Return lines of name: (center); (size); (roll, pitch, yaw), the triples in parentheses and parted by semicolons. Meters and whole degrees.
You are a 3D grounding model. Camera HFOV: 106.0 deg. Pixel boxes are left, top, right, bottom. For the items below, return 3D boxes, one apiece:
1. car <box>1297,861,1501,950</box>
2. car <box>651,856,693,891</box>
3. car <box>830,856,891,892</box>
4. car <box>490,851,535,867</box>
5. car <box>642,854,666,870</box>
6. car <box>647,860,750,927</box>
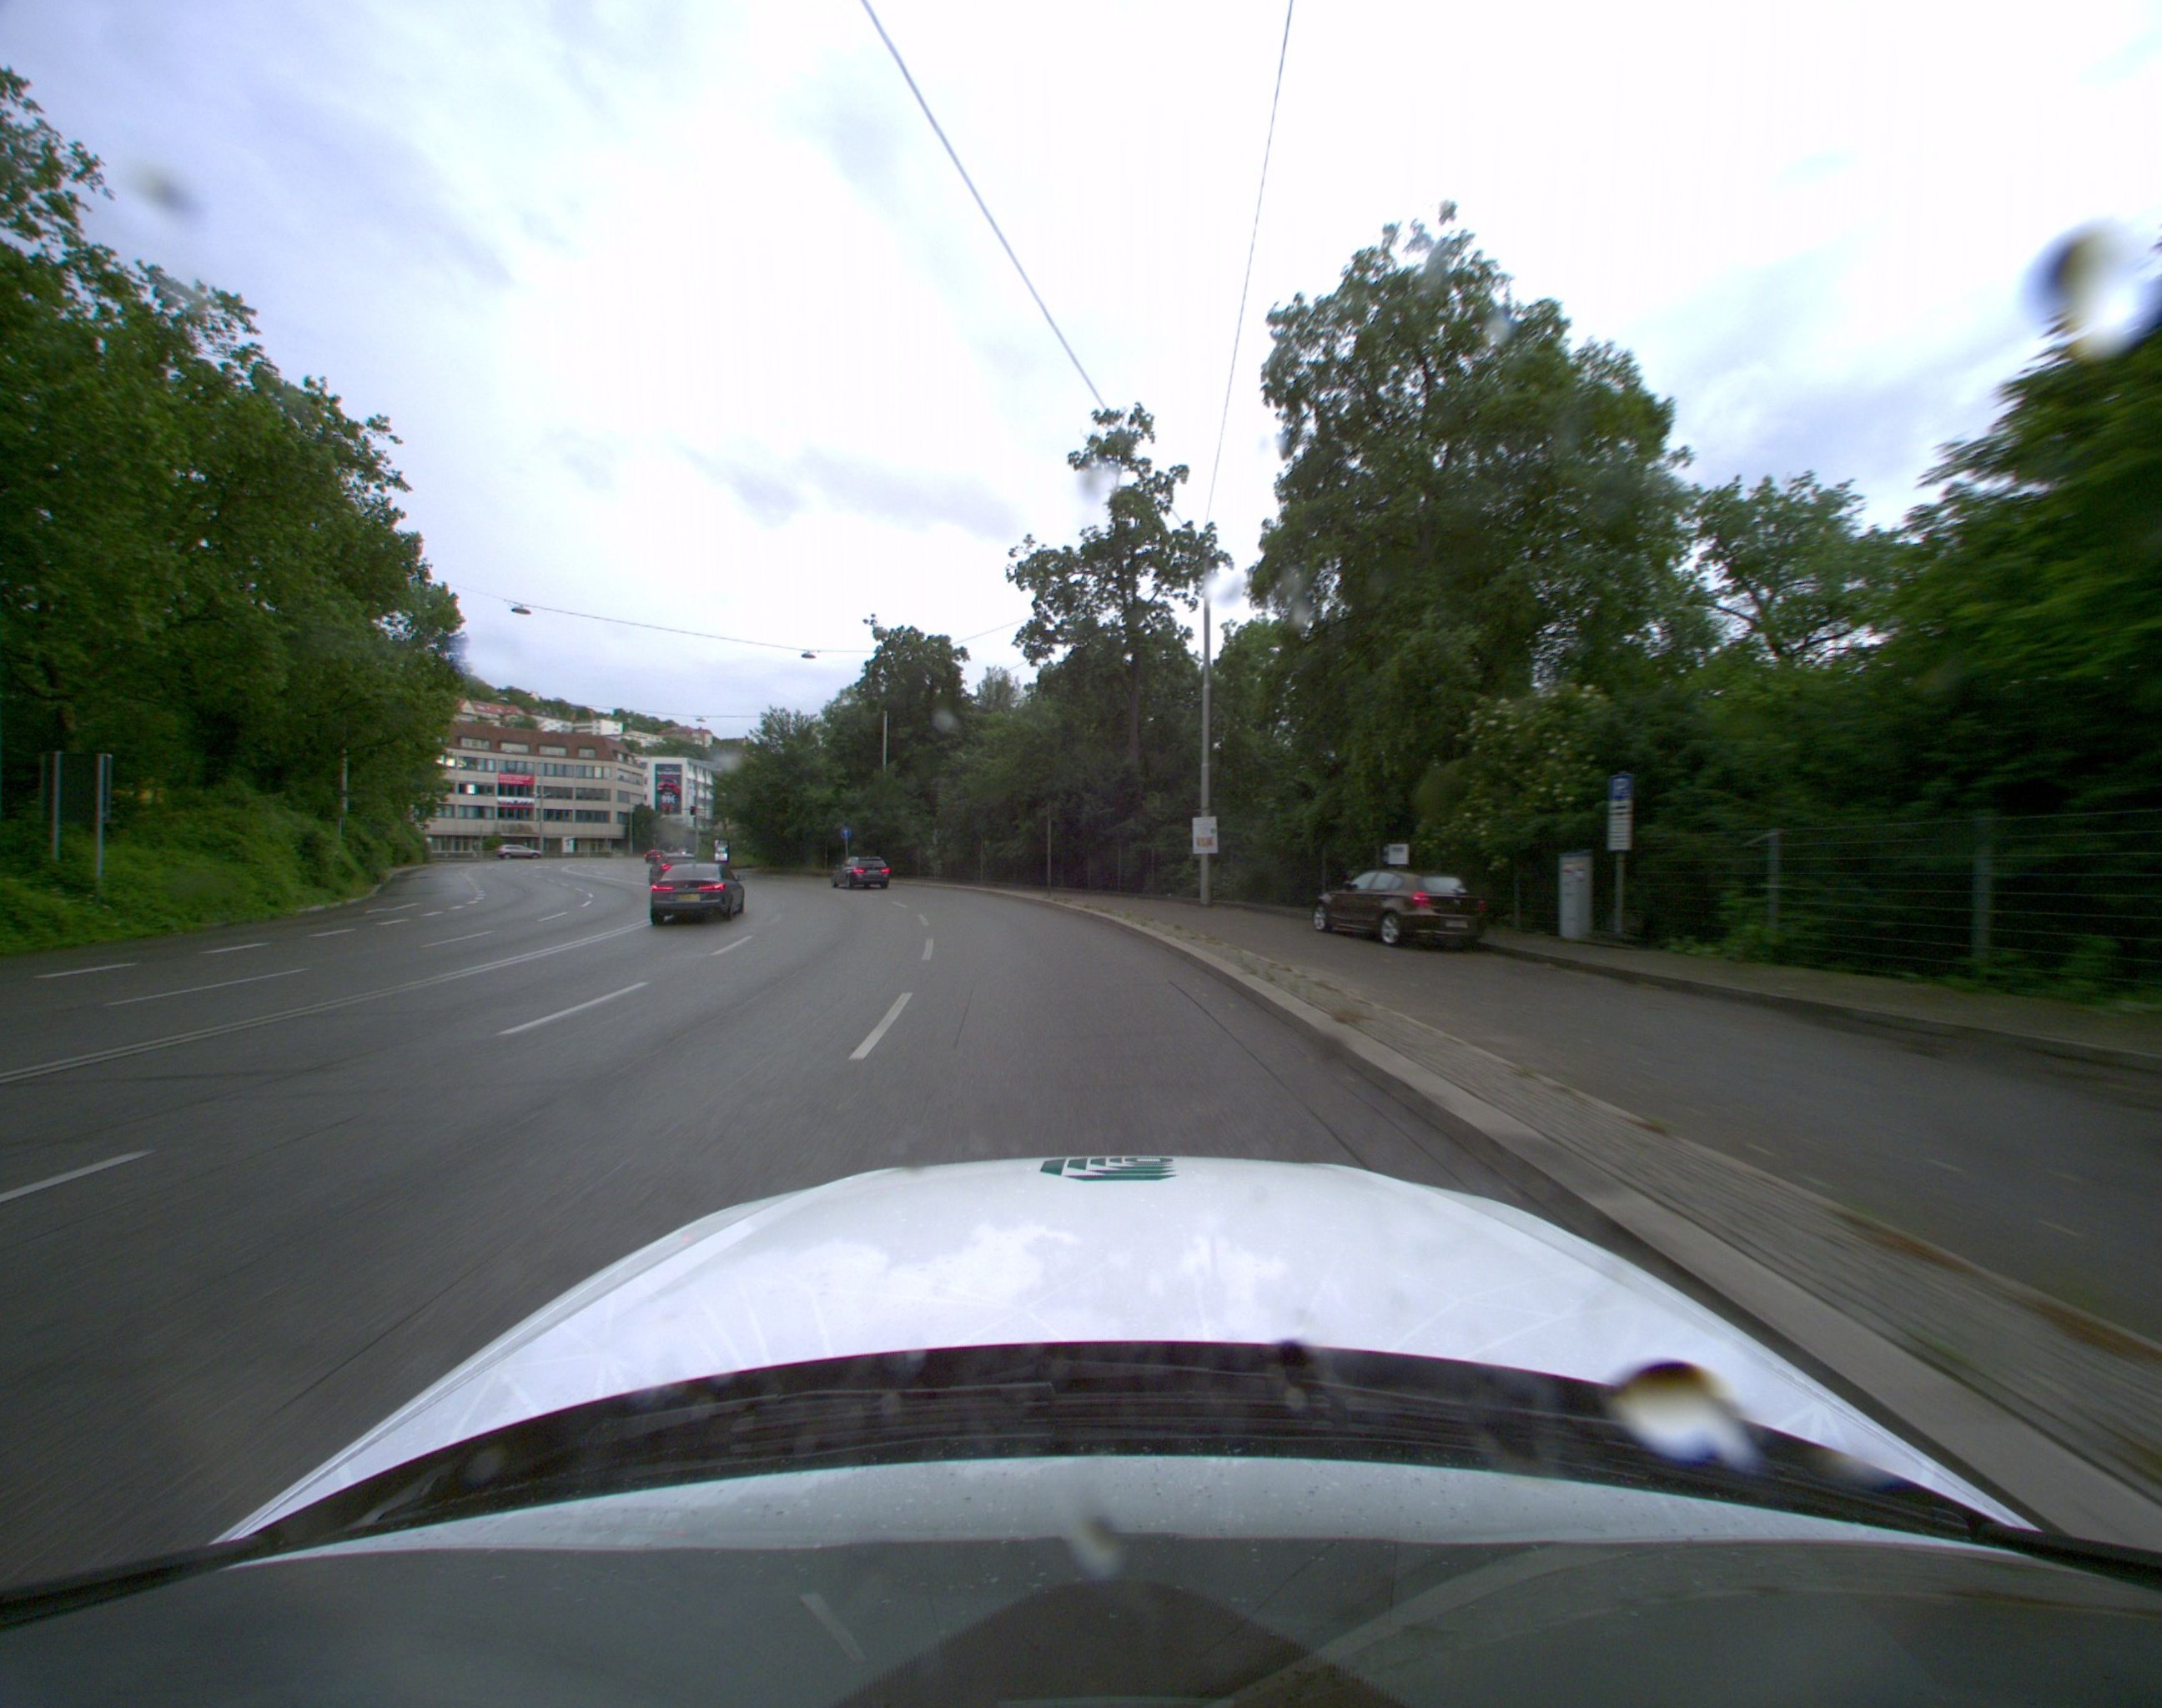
car: (6.136, 0.932, 16.318); (1.688, 1.426, 4.354); (3, 0, -11)
car: (-20.340, 0.944, 40.523); (1.767, 1.586, 4.374); (-1, 0, -27)
car: (-10.254, 0.942, 37.689); (1.768, 1.433, 4.371); (-2, -2, -28)
car: (-65.433, 0.606, 93.743); (1.644, 1.728, 4.025); (-1, 0, 42)
car: (-46.991, 0.875, 89.679); (1.836, 1.651, 3.973); (0, 0, -20)
car: (-9.717, 0.924, 21.024); (1.668, 1.415, 4.516); (0, 1, -16)
